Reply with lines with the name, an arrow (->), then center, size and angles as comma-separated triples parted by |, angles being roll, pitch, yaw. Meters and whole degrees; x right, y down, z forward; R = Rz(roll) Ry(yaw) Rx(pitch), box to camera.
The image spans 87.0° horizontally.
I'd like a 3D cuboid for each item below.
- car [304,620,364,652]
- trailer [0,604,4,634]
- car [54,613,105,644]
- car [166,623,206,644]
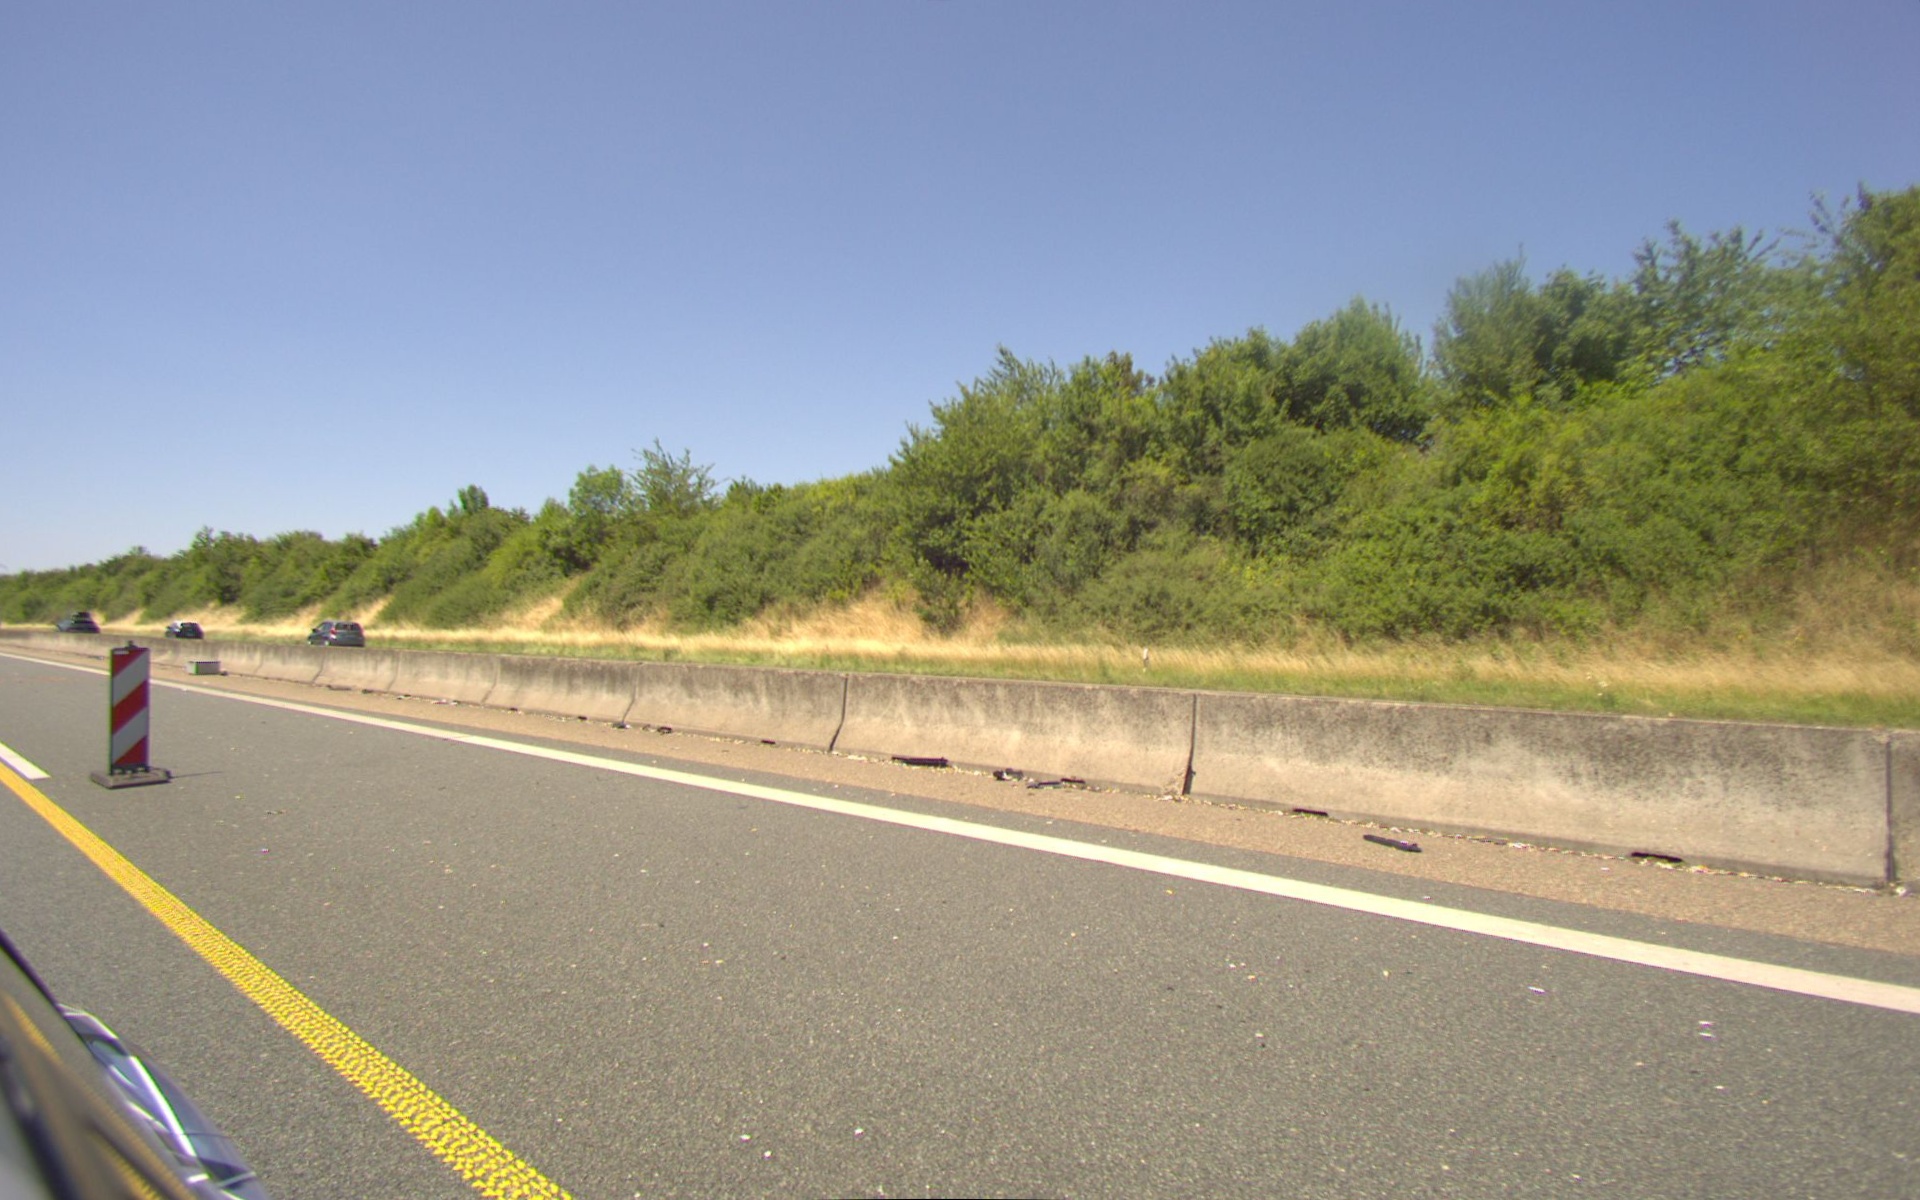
car -> -32.140, 1.822, 51.916 | 3.997, 1.560, 1.484 | -1, -2, 41
trailer -> -141.107, 2.703, 145.983 | 13.627, 4.093, 2.923 | -1, -4, 40
car -> -54.850, 1.754, 62.997 | 4.619, 1.832, 1.723 | -1, -2, 41
car -> -55.778, 2.414, 72.903 | 3.777, 1.475, 1.557 | -1, -2, 41
